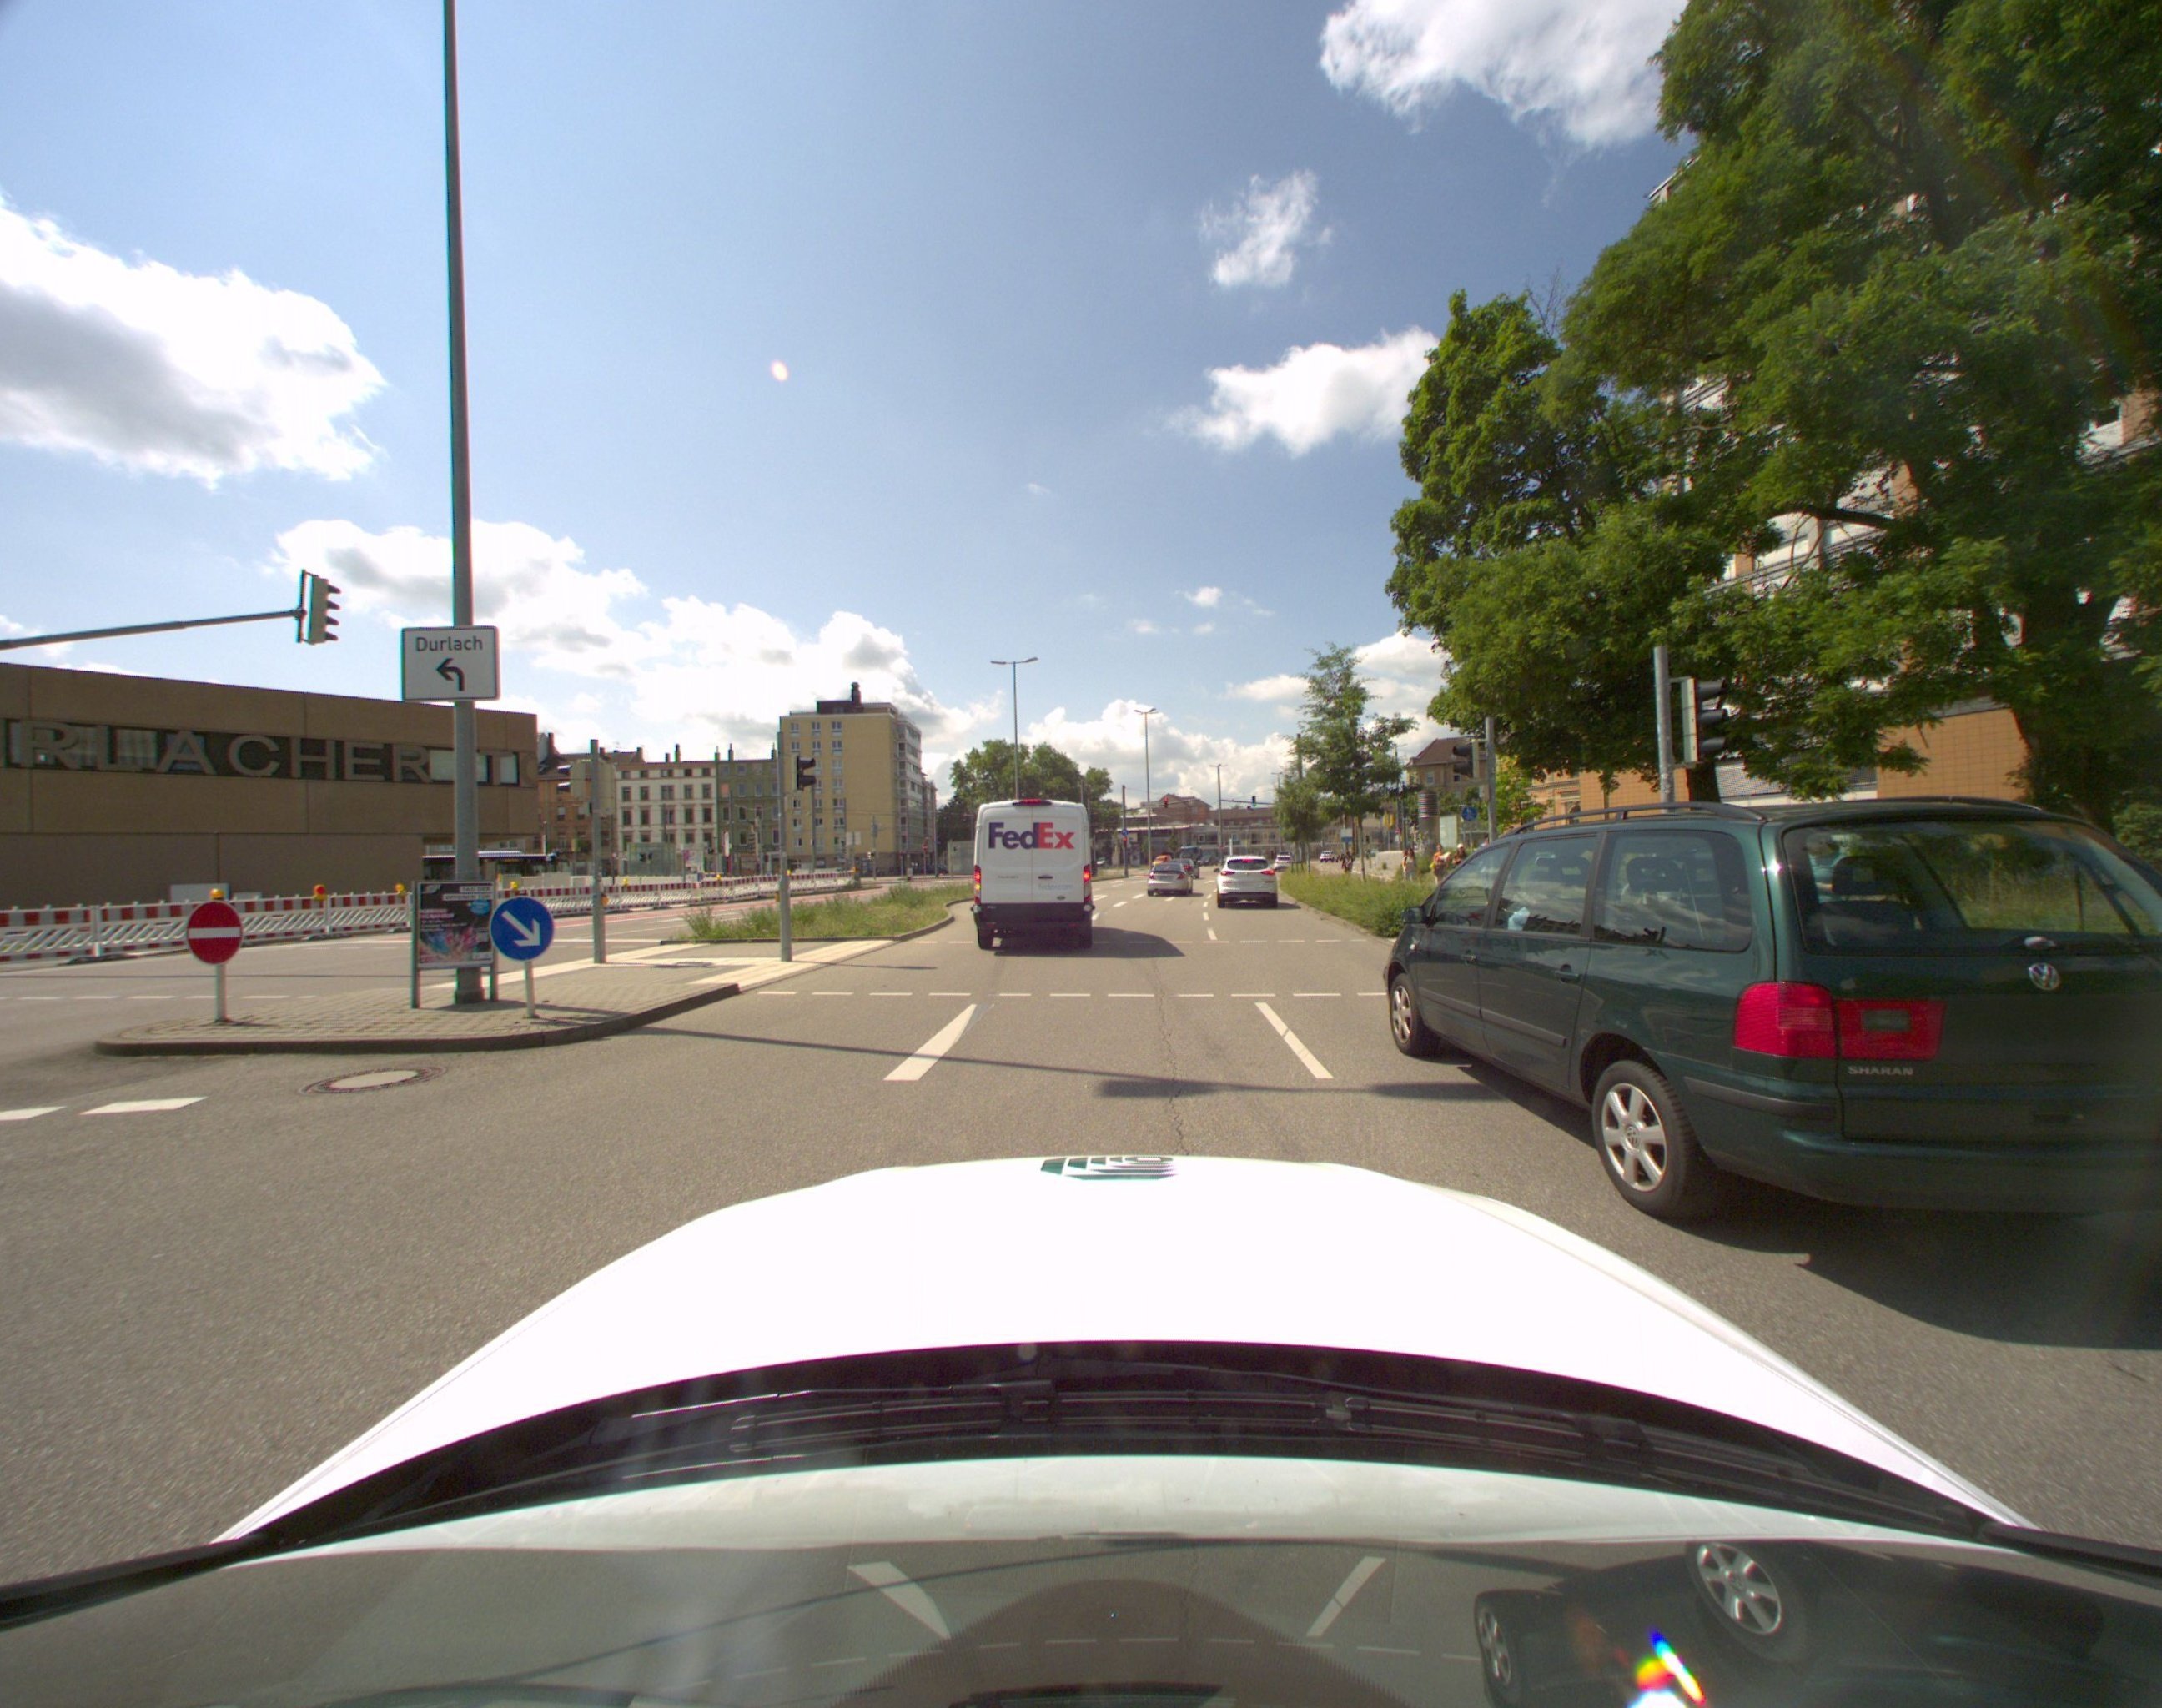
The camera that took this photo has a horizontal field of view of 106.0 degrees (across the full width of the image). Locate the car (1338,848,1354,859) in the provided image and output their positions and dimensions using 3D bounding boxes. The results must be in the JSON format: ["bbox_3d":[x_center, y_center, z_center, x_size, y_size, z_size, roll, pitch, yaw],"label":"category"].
[{"bbox_3d":[41.197,-0.136,126.573,1.864,1.641,3.980,-2,0,26],"label":"car"}]

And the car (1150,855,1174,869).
[{"bbox_3d":[11.935,1.150,119.474,1.701,1.800,4.769,-3,-1,28],"label":"car"}]

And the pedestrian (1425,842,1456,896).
[{"bbox_3d":[10.994,0.450,24.906,0.585,1.626,0.727,-1,-1,-1],"label":"pedestrian"}]

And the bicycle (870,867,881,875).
[{"bbox_3d":[-28.586,2.326,113.251,2.107,1.147,0.515,-2,-2,42],"label":"bicycle"}]

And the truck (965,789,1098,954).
[{"bbox_3d":[-0.786,0.312,16.192,2.130,2.640,5.916,-1,-1,0],"label":"truck"}]

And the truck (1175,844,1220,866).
[{"bbox_3d":[16.954,0.116,117.815,2.857,2.852,8.849,-2,0,34],"label":"truck"}]

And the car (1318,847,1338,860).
[{"bbox_3d":[35.367,-0.100,116.541,1.863,1.641,3.982,-2,0,31],"label":"car"}]

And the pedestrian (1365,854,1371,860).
[{"bbox_3d":[44.388,0.507,125.872,0.519,0.906,1.570,-1,-1,30],"label":"pedestrian"}]

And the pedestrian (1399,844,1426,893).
[{"bbox_3d":[11.480,0.511,28.217,0.645,1.626,0.777,-5,-2,14],"label":"pedestrian"}]

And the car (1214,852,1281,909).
[{"bbox_3d":[5.395,0.806,26.836,1.870,1.641,4.242,-2,0,8],"label":"car"}]

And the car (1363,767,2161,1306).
[{"bbox_3d":[3.223,0.591,4.843,1.787,1.723,4.451,0,0,3],"label":"car"}]

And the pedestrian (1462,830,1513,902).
[{"bbox_3d":[10.758,0.321,21.590,0.755,1.821,0.778,-5,-1,-7],"label":"pedestrian"}]

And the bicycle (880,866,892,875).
[{"bbox_3d":[-27.265,2.304,113.744,2.108,1.147,0.537,-2,-2,43],"label":"bicycle"}]

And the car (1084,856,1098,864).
[{"bbox_3d":[1.939,1.275,163.891,1.980,1.574,4.192,-1,-1,13],"label":"car"}]

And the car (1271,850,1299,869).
[{"bbox_3d":[19.316,0.508,77.160,1.864,1.641,3.979,-2,0,24],"label":"car"}]

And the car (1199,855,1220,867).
[{"bbox_3d":[17.861,0.953,113.044,1.638,1.469,4.178,-2,0,25],"label":"car"}]

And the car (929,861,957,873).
[{"bbox_3d":[-21.978,2.138,129.468,4.085,1.858,1.983,-1,-1,-1],"label":"car"}]

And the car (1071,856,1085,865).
[{"bbox_3d":[-0.644,1.319,164.475,1.980,1.574,4.192,-1,-1,13],"label":"car"}]

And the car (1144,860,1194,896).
[{"bbox_3d":[3.901,1.002,35.545,1.730,1.391,4.192,-2,0,11],"label":"car"}]

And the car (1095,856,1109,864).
[{"bbox_3d":[4.297,1.230,163.064,1.980,1.574,4.192,-1,-1,13],"label":"car"}]

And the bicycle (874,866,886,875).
[{"bbox_3d":[-27.975,2.315,113.514,2.107,1.147,0.515,-2,-2,42],"label":"bicycle"}]

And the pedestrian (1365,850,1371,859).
[{"bbox_3d":[44.401,0.090,126.007,0.685,1.457,0.684,-1,-2,30],"label":"pedestrian"}]

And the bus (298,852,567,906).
[{"bbox_3d":[-38.237,1.387,48.798,2.562,2.860,12.340,-2,-2,43],"label":"bus"}]

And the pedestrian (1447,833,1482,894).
[{"bbox_3d":[11.700,0.301,24.863,0.753,1.821,0.638,-1,-1,-1],"label":"pedestrian"}]

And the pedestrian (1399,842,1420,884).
[{"bbox_3d":[14.694,0.410,36.450,0.751,1.821,0.676,-1,-1,12],"label":"pedestrian"}]

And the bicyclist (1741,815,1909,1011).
[{"bbox_3d":[6.557,0.500,7.211,0.826,1.601,0.579,-4,-2,-2],"label":"bicyclist"}]

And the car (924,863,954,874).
[{"bbox_3d":[-20.863,2.122,120.071,4.090,1.665,1.869,-1,-1,0],"label":"car"}]

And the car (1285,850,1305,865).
[{"bbox_3d":[26.234,0.399,99.798,1.865,1.641,3.978,-2,0,22],"label":"car"}]

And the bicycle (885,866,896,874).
[{"bbox_3d":[-26.689,2.254,114.061,2.107,1.147,0.515,-2,-2,42],"label":"bicycle"}]

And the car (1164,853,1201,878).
[{"bbox_3d":[7.344,0.792,58.584,1.914,1.641,4.812,-2,0,16],"label":"car"}]

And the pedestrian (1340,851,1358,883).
[{"bbox_3d":[13.329,0.640,40.551,0.750,1.590,0.764,-1,-1,14],"label":"pedestrian"}]
